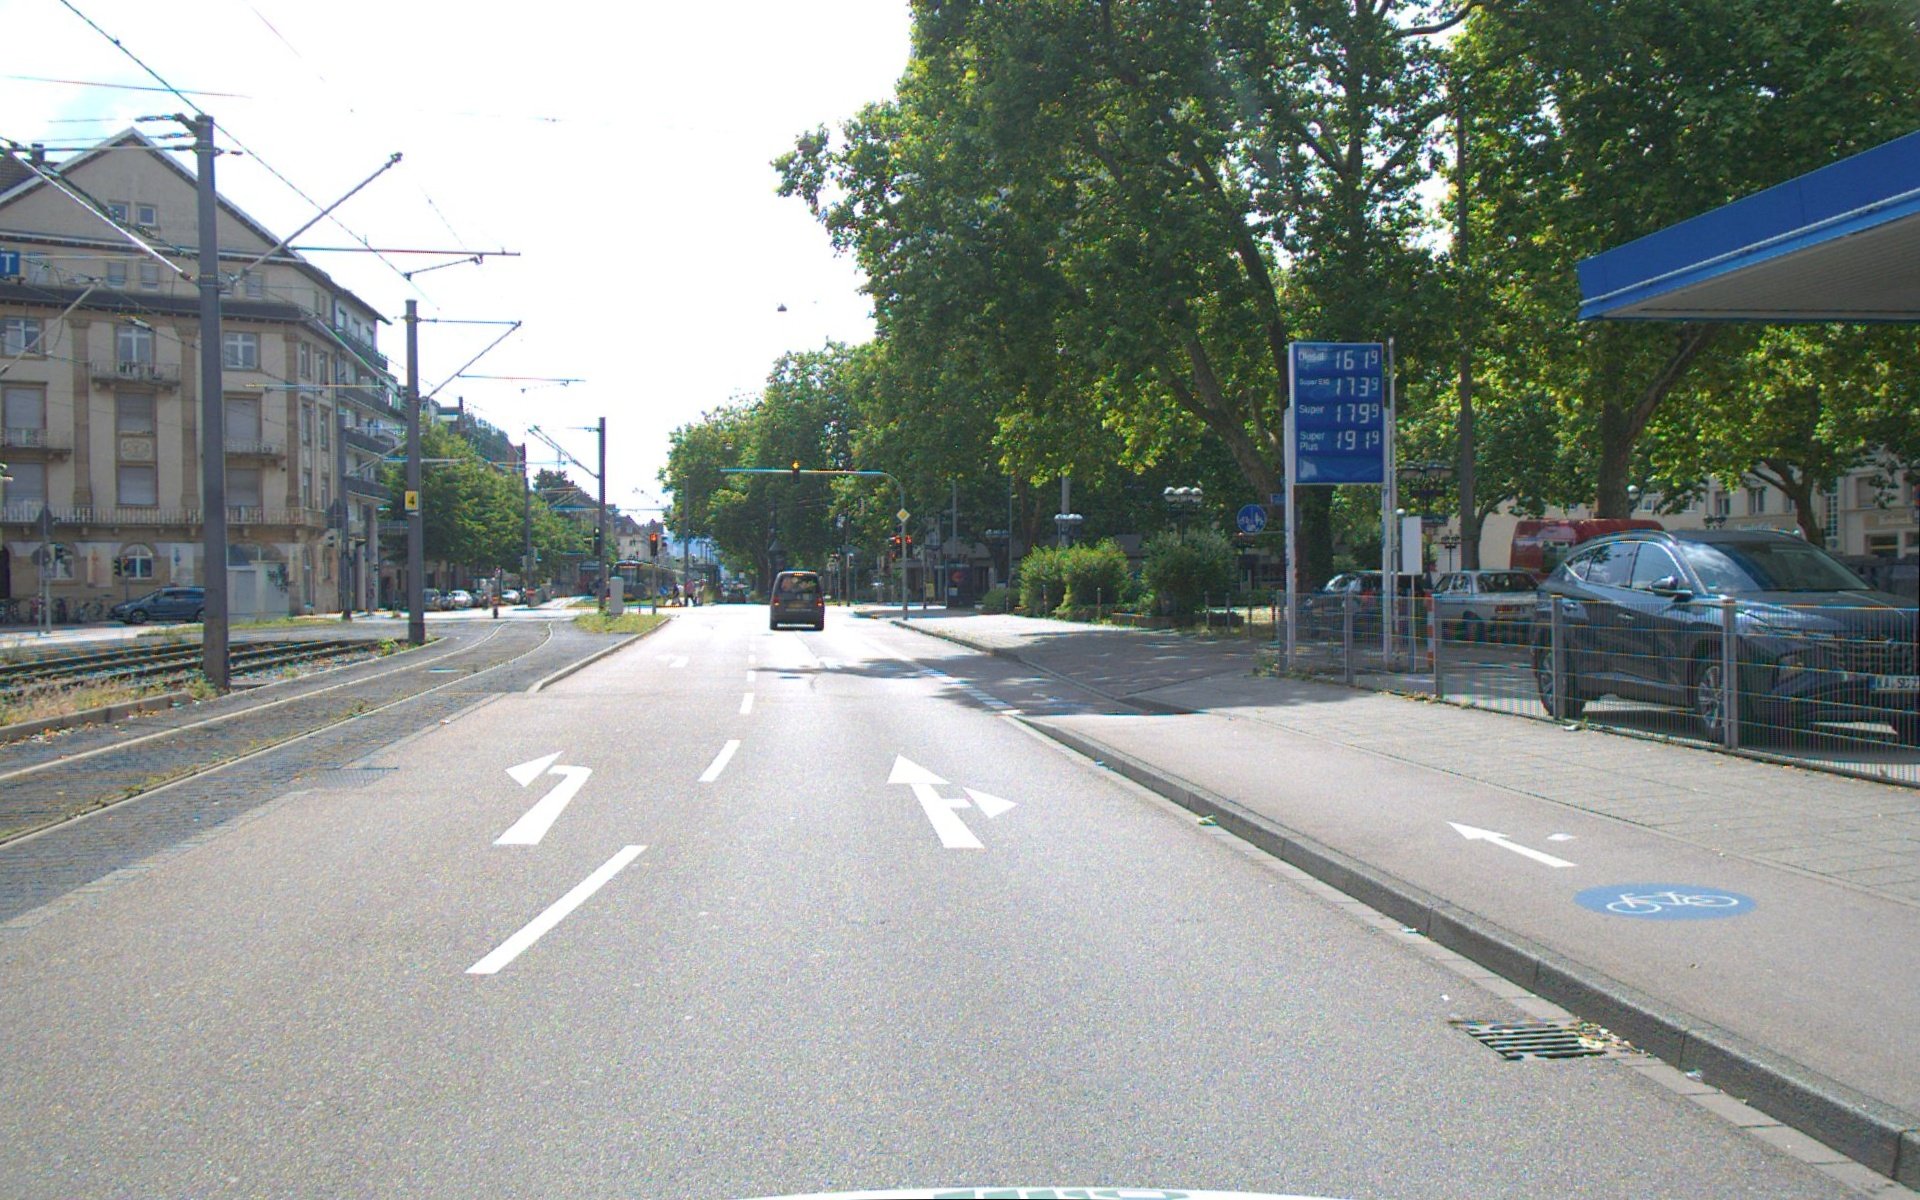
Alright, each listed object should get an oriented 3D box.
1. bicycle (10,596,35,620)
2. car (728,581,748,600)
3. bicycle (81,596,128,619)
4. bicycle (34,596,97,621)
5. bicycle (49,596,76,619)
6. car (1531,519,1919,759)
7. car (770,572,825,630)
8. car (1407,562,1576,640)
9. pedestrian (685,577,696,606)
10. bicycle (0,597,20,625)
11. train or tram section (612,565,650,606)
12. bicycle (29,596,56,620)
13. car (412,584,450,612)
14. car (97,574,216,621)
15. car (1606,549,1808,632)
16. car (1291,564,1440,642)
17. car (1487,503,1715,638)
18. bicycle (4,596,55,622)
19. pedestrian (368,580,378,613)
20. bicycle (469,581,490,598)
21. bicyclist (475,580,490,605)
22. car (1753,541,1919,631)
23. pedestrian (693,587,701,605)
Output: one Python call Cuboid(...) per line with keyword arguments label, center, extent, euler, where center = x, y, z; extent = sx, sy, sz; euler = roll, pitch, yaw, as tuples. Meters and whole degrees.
Cuboid(label="bicycle", center=(-44.465, 0.373, 78.442), extent=(0.734, 1.071, 2.533), euler=(-1, 1, -36))
Cuboid(label="car", center=(-21.118, -0.898, 157.682), extent=(1.828, 1.783, 3.994), euler=(-1, 1, -7))
Cuboid(label="bicycle", center=(-41.546, 0.362, 80.375), extent=(0.786, 1.071, 2.568), euler=(-1, 1, 5))
Cuboid(label="bicycle", center=(-42.170, 0.389, 77.956), extent=(2.537, 1.071, 0.674), euler=(-2, 1, -35))
Cuboid(label="bicycle", center=(-43.097, 0.371, 79.396), extent=(0.797, 1.071, 2.533), euler=(-1, 1, -36))
Cuboid(label="car", center=(6.573, 0.226, 13.606), extent=(1.771, 1.630, 4.576), euler=(0, 1, -6))
Cuboid(label="car", center=(-5.343, 0.005, 54.026), extent=(1.717, 1.840, 3.470), euler=(1, 1, -7))
Cuboid(label="car", center=(11.008, -0.003, 34.529), extent=(1.619, 1.496, 4.032), euler=(-1, 1, -11))
Cuboid(label="pedestrian", center=(-16.734, -0.529, 102.622), extent=(0.646, 1.815, 0.659), euler=(-1, 1, -7))
Cuboid(label="bicycle", center=(-45.393, 0.516, 76.635), extent=(3.239, 1.275, 1.000), euler=(-1, 1, 9))
Cuboid(label="train or tram section", center=(-28.665, -1.333, 144.317), extent=(2.198, 3.389, 12.952), euler=(-1, 1, -7))
Cuboid(label="bicycle", center=(-43.782, 0.373, 78.890), extent=(0.797, 1.071, 2.533), euler=(-1, 1, -36))
Cuboid(label="car", center=(-40.264, -0.155, 125.959), extent=(1.956, 2.049, 3.994), euler=(-1, 1, -7))
Cuboid(label="car", center=(-37.228, -0.135, 76.694), extent=(4.746, 2.048, 1.977), euler=(-2, 1, -33))
Cuboid(label="car", center=(16.137, -0.236, 36.025), extent=(1.967, 1.679, 4.647), euler=(0, 1, -6))
Cuboid(label="car", center=(8.334, 0.022, 34.369), extent=(1.618, 1.496, 4.035), euler=(-1, 1, -8))
Cuboid(label="car", center=(13.572, -0.629, 35.516), extent=(2.071, 2.627, 6.013), euler=(-1, 1, -6))
Cuboid(label="bicycle", center=(-42.985, 0.398, 76.421), extent=(1.961, 1.134, 0.479), euler=(-2, 1, -44))
Cuboid(label="pedestrian", center=(-36.028, -0.222, 101.515), extent=(0.469, 2.049, 0.418), euler=(-1, 1, -12))
Cuboid(label="bicycle", center=(-30.305, -0.667, 104.302), extent=(0.883, 1.066, 2.290), euler=(-1, 1, -26))
Cuboid(label="bicyclist", center=(-30.148, -0.469, 104.418), extent=(0.769, 1.538, 0.992), euler=(-1, 1, -27))
Cuboid(label="car", center=(19.224, -0.315, 35.388), extent=(1.967, 1.785, 4.647), euler=(0, 1, -6))
Cuboid(label="pedestrian", center=(-16.457, -0.249, 103.346), extent=(0.455, 1.164, 0.434), euler=(-1, 1, -7))
